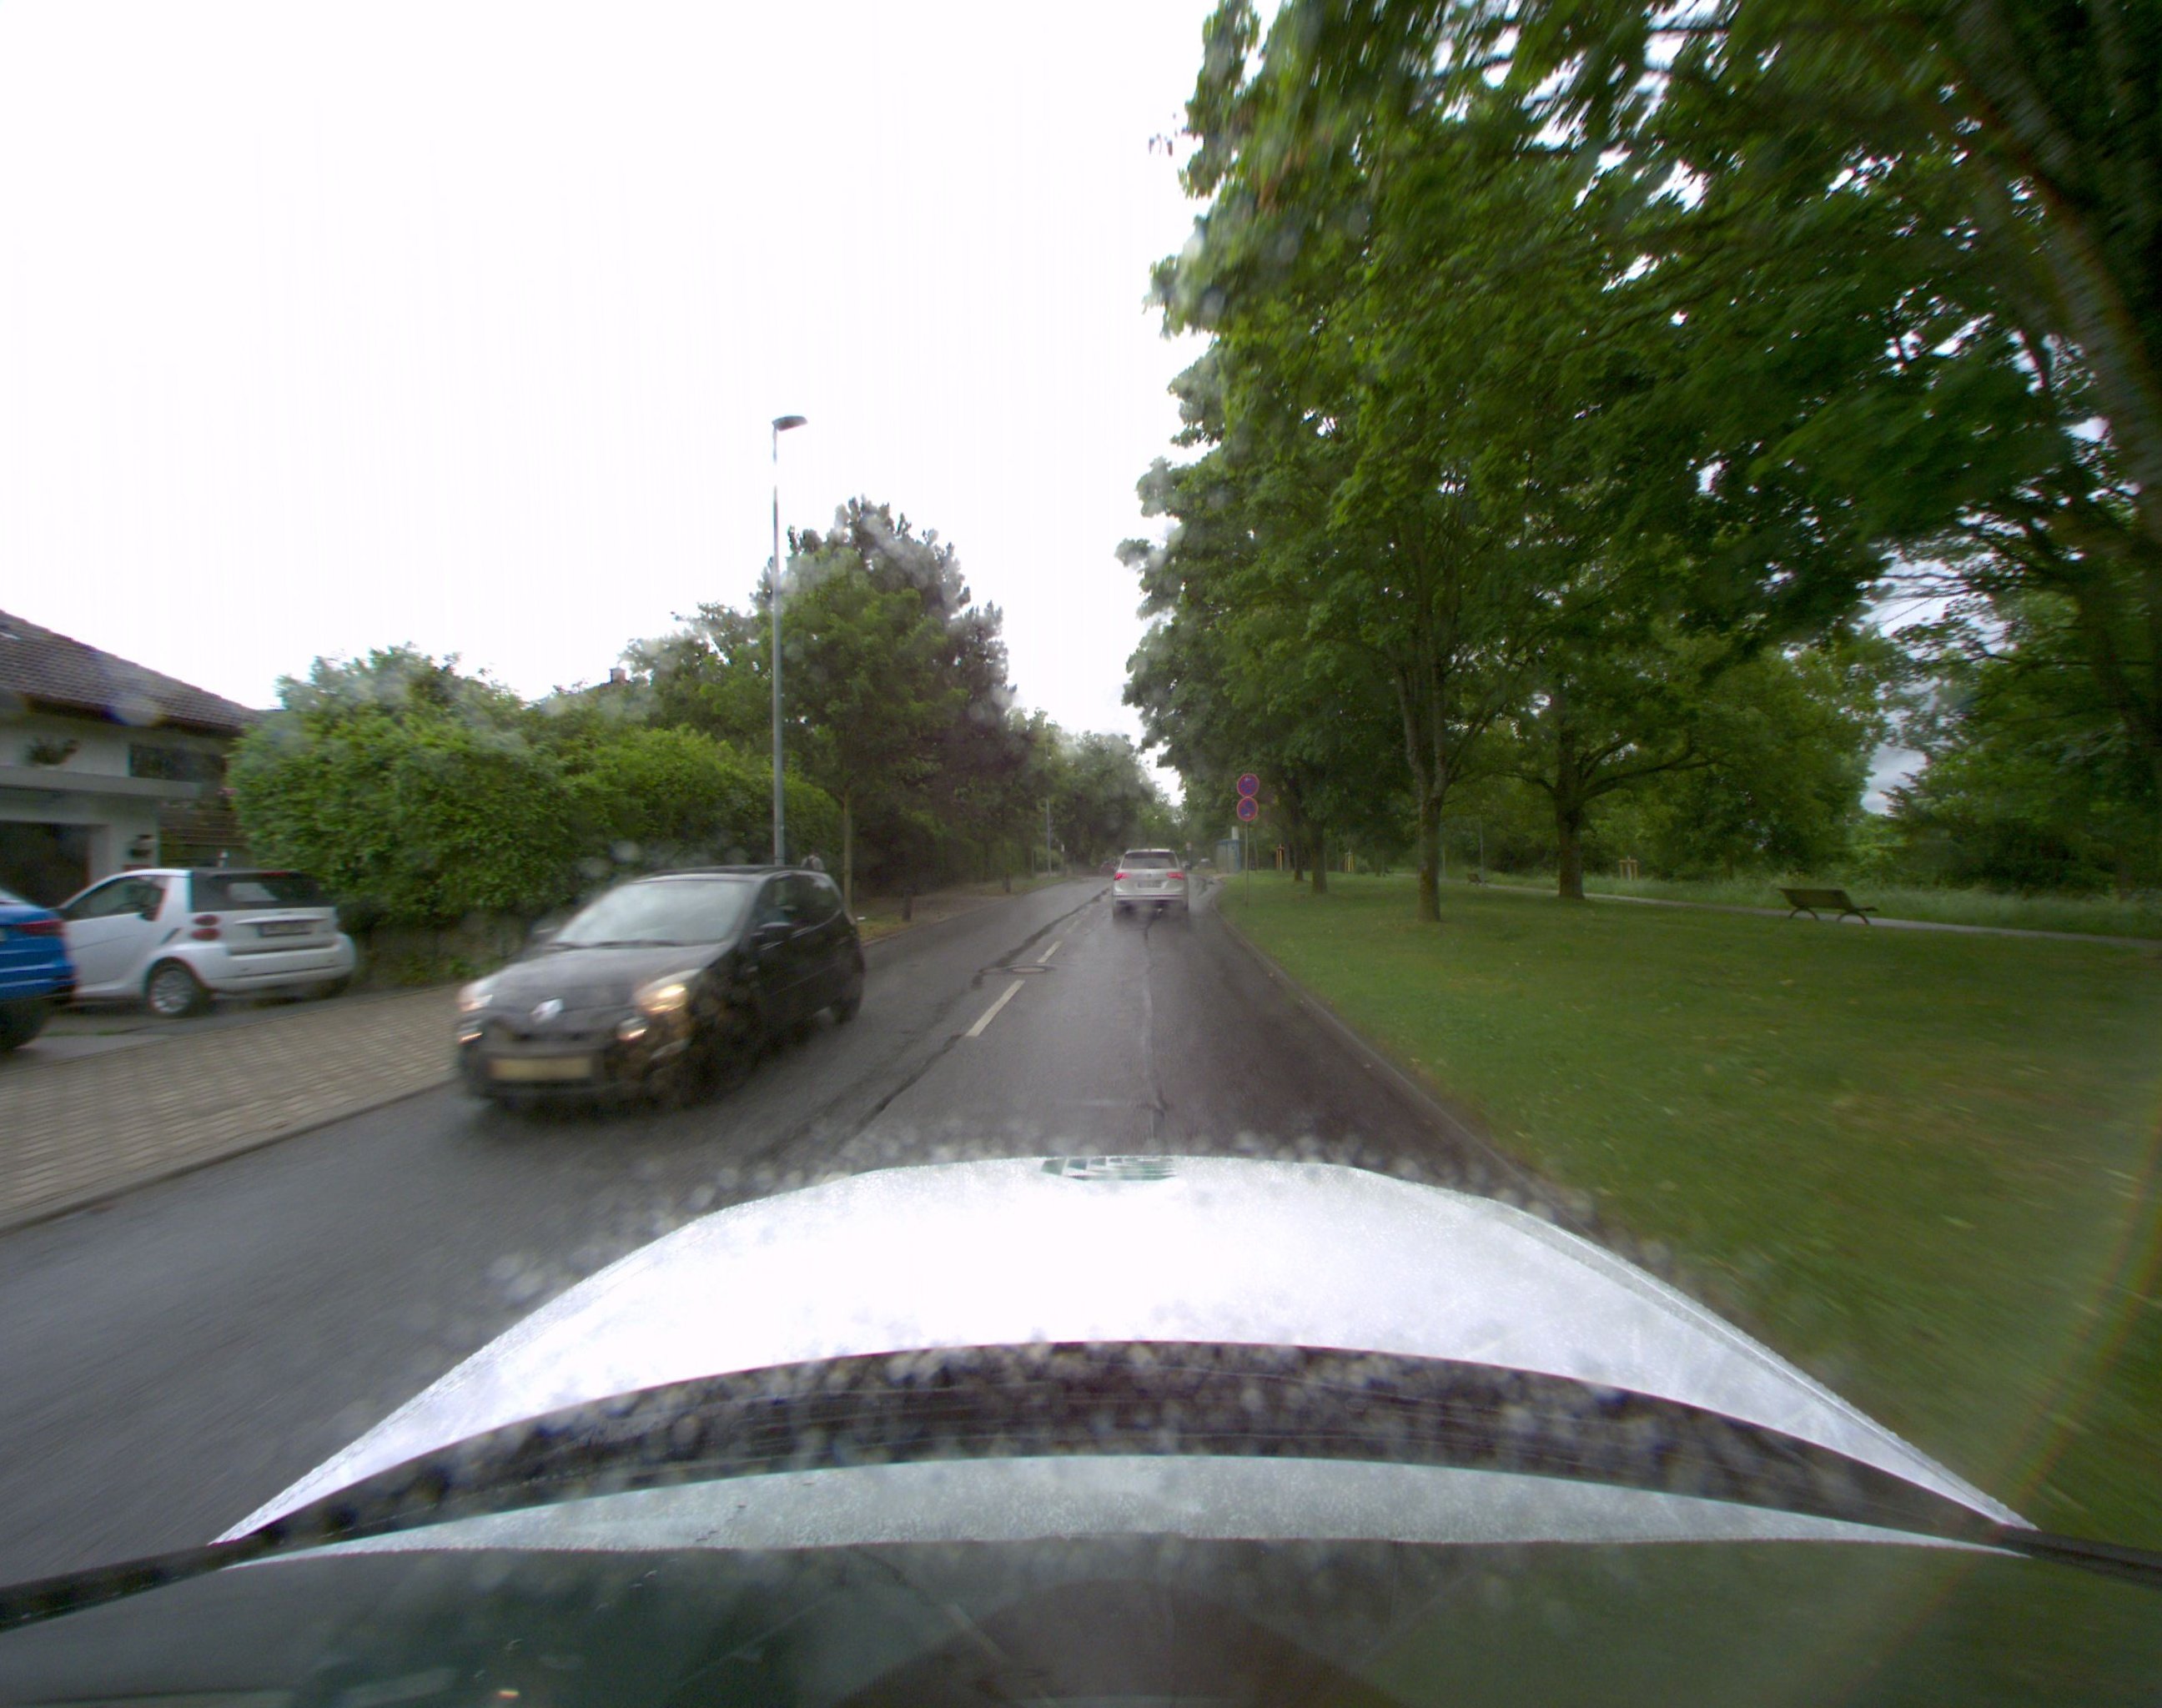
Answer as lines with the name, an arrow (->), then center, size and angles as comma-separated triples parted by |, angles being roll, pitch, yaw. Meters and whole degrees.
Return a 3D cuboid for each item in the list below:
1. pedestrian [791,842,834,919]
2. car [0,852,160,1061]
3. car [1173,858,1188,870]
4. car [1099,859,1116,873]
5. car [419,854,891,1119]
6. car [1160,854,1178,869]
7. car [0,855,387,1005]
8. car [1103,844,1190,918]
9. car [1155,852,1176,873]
pedestrian -> -5.918, 0.572, 17.995 | 0.777, 1.662, 0.840 | 0, 0, -10
car -> -10.061, 0.773, 5.994 | 4.223, 1.539, 2.052 | -1, 0, 1
car -> 15.391, 1.613, 126.050 | 1.985, 1.805, 4.003 | 0, -2, 3
car -> 3.360, 1.521, 103.045 | 1.985, 1.763, 4.003 | 0, -2, 4
car -> -2.931, 0.775, 6.666 | 1.576, 1.477, 3.900 | -2, 0, 4
car -> 10.743, 0.964, 99.251 | 1.985, 1.759, 4.003 | 0, -2, 3
car -> -10.314, 0.793, 9.234 | 3.391, 1.519, 1.731 | -1, 0, 1
car -> 1.684, 0.631, 20.589 | 1.964, 1.653, 4.183 | -1, 0, 5
car -> 8.469, 0.863, 82.087 | 1.893, 2.014, 3.947 | 0, -2, 4
